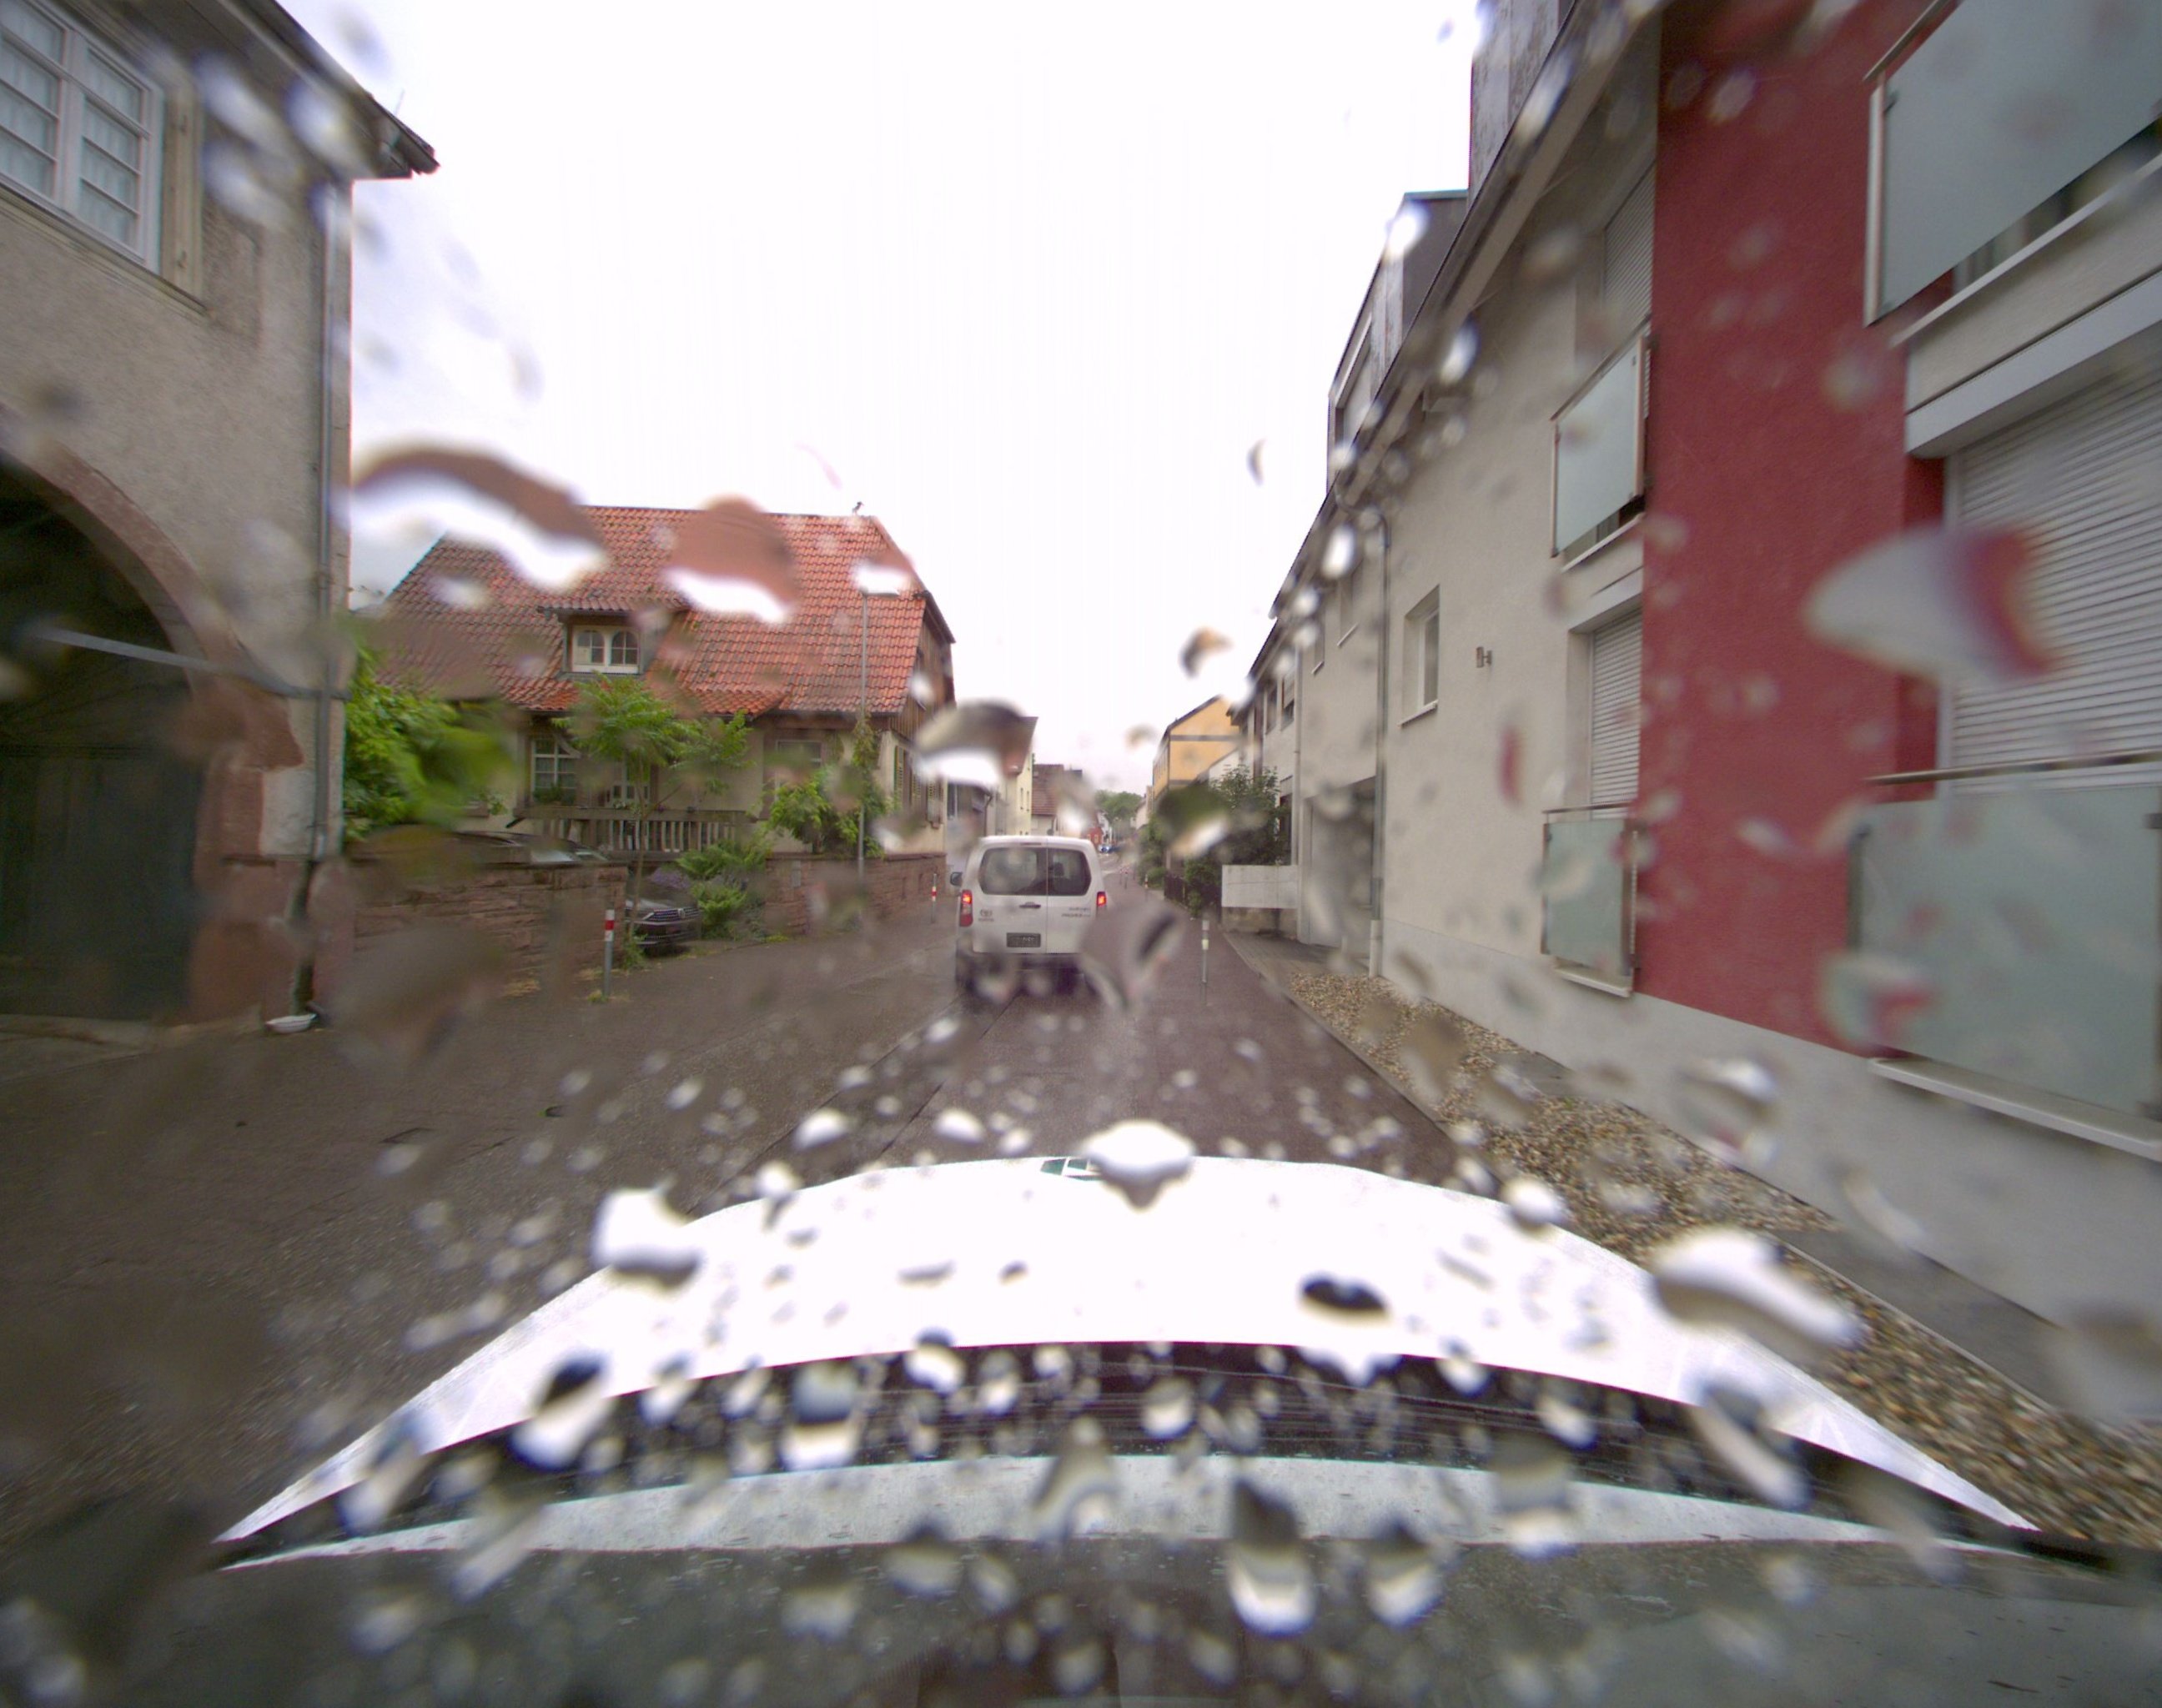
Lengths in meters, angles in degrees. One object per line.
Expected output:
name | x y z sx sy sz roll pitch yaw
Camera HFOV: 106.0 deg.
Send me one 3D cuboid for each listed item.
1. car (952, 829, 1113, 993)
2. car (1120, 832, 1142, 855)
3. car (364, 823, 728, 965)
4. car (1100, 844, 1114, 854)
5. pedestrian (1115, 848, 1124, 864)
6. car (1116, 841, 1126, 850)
car | -0.776 0.622 10.935 1.773 1.780 3.990 0 0 -7
car | 4.537 -0.885 73.537 1.984 2.013 4.005 0 0 4
car | -7.326 0.497 11.341 3.965 1.425 1.740 6 0 8
car | 4.239 -0.804 132.147 1.983 1.559 3.439 -2 2 7
pedestrian | 4.623 0.289 97.272 1.047 1.893 0.877 0 0 1
car | 7.600 -1.616 153.693 1.580 1.441 3.774 2 0 8
